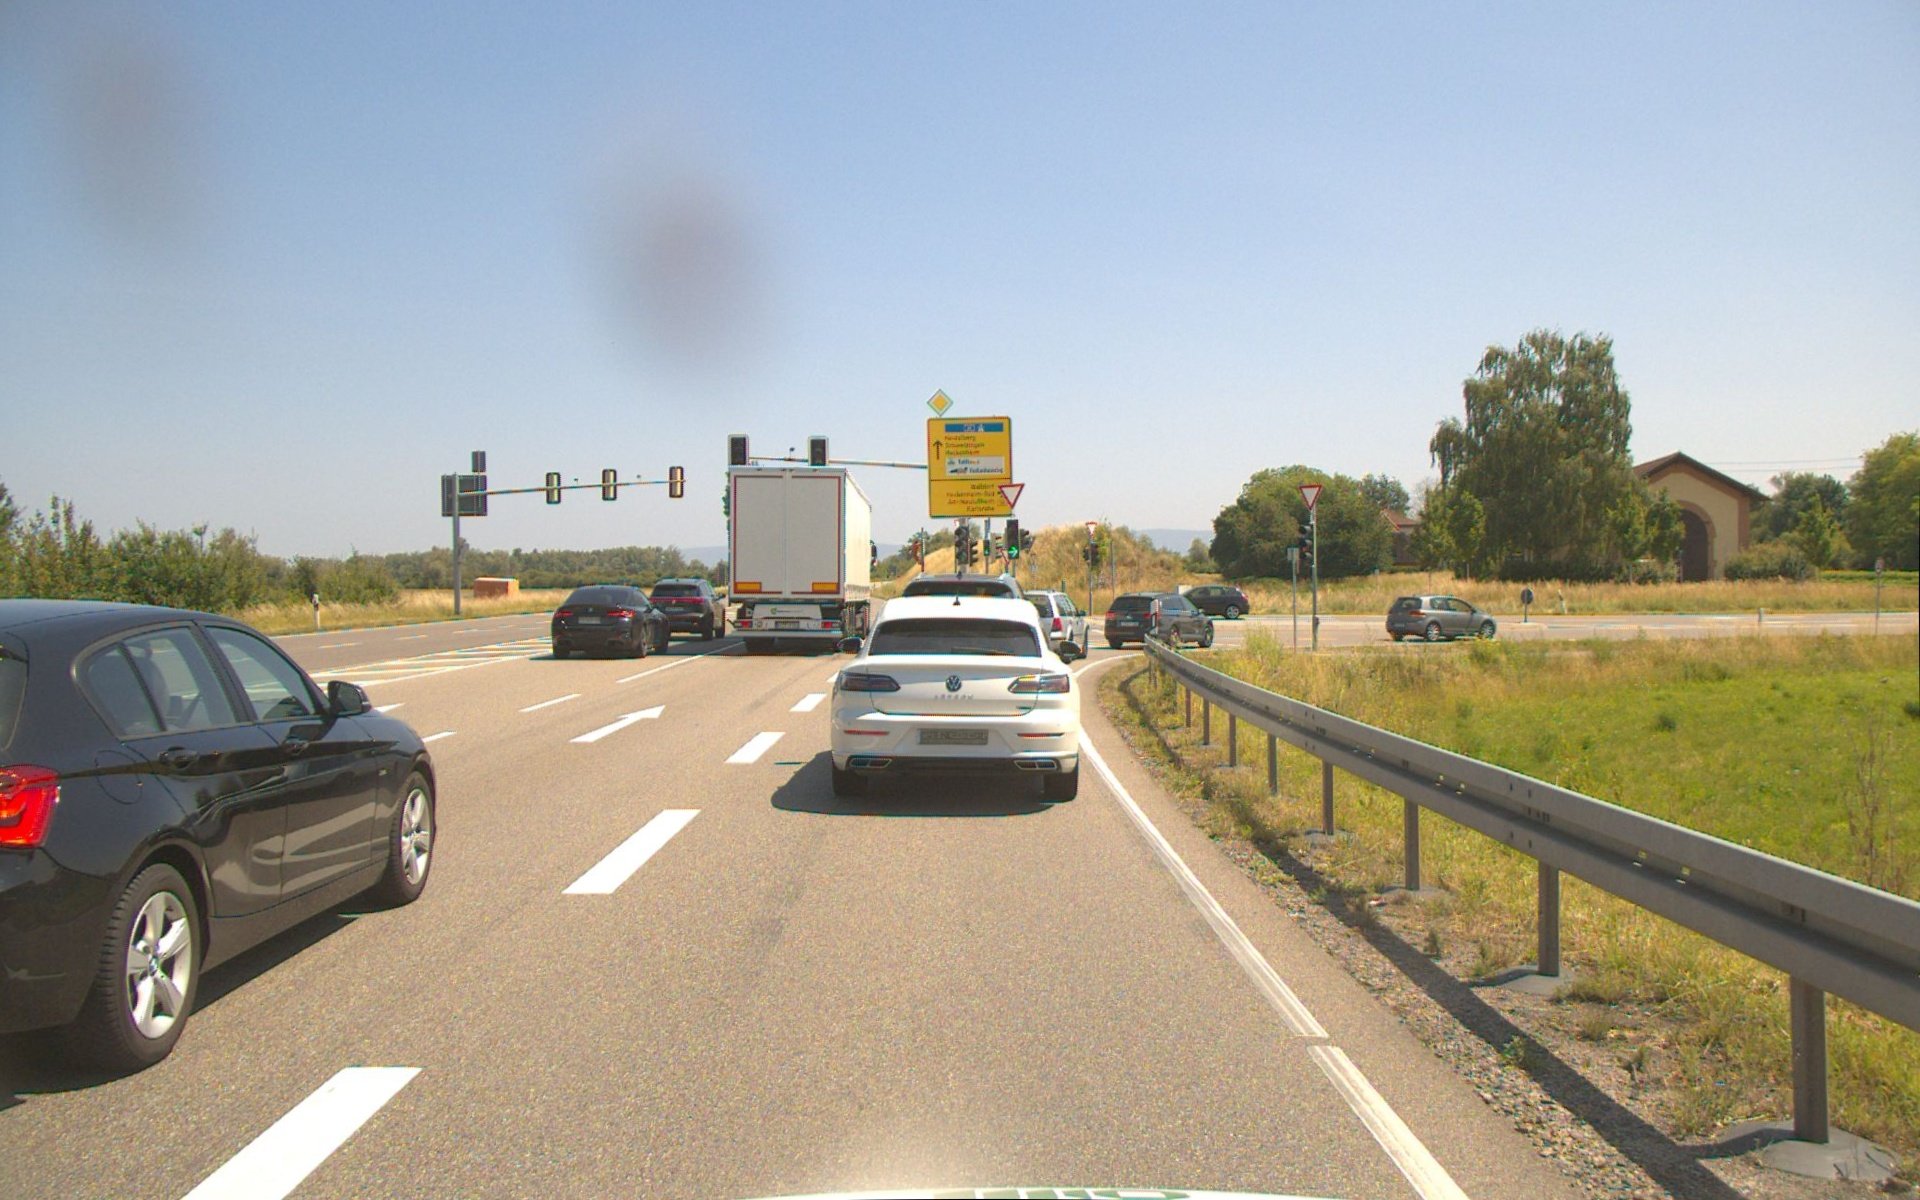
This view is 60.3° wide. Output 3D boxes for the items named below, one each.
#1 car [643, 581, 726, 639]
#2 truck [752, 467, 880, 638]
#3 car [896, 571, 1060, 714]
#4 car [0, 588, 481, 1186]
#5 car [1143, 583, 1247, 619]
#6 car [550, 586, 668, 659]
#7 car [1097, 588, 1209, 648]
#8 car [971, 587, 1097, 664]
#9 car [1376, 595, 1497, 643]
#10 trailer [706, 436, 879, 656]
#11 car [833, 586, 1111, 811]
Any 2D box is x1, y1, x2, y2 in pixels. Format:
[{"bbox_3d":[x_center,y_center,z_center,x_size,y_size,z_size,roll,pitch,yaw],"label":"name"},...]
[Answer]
[{"bbox_3d":[-7.564,0.253,45.684,1.773,1.519,4.019,1,0,-3],"label":"car"},{"bbox_3d":[-4.071,-1.309,48.288,3.313,4.622,6.370,1,0,-2],"label":"truck"},{"bbox_3d":[0.332,0.488,21.316,1.894,1.644,4.380,0,0,3],"label":"car"},{"bbox_3d":[-3.319,0.711,6.313,1.748,1.455,4.380,1,1,-1],"label":"car"},{"bbox_3d":[9.972,0.048,70.392,4.171,1.392,1.777,-1,2,2],"label":"car"},{"bbox_3d":[-7.291,0.441,34.726,1.773,1.423,4.019,1,0,-3],"label":"car"},{"bbox_3d":[5.229,0.452,44.351,1.764,1.502,4.412,0,0,24],"label":"car"},{"bbox_3d":[1.565,0.482,33.583,1.761,1.454,4.096,0,0,14],"label":"car"},{"bbox_3d":[15.779,0.615,54.719,3.831,1.548,1.786,0,0,-32],"label":"car"},{"bbox_3d":[-3.862,-1.192,41.494,3.313,4.622,12.868,1,0,-2],"label":"trailer"},{"bbox_3d":[0.047,0.643,13.121,1.810,1.458,4.607,0,0,-1],"label":"car"}]
